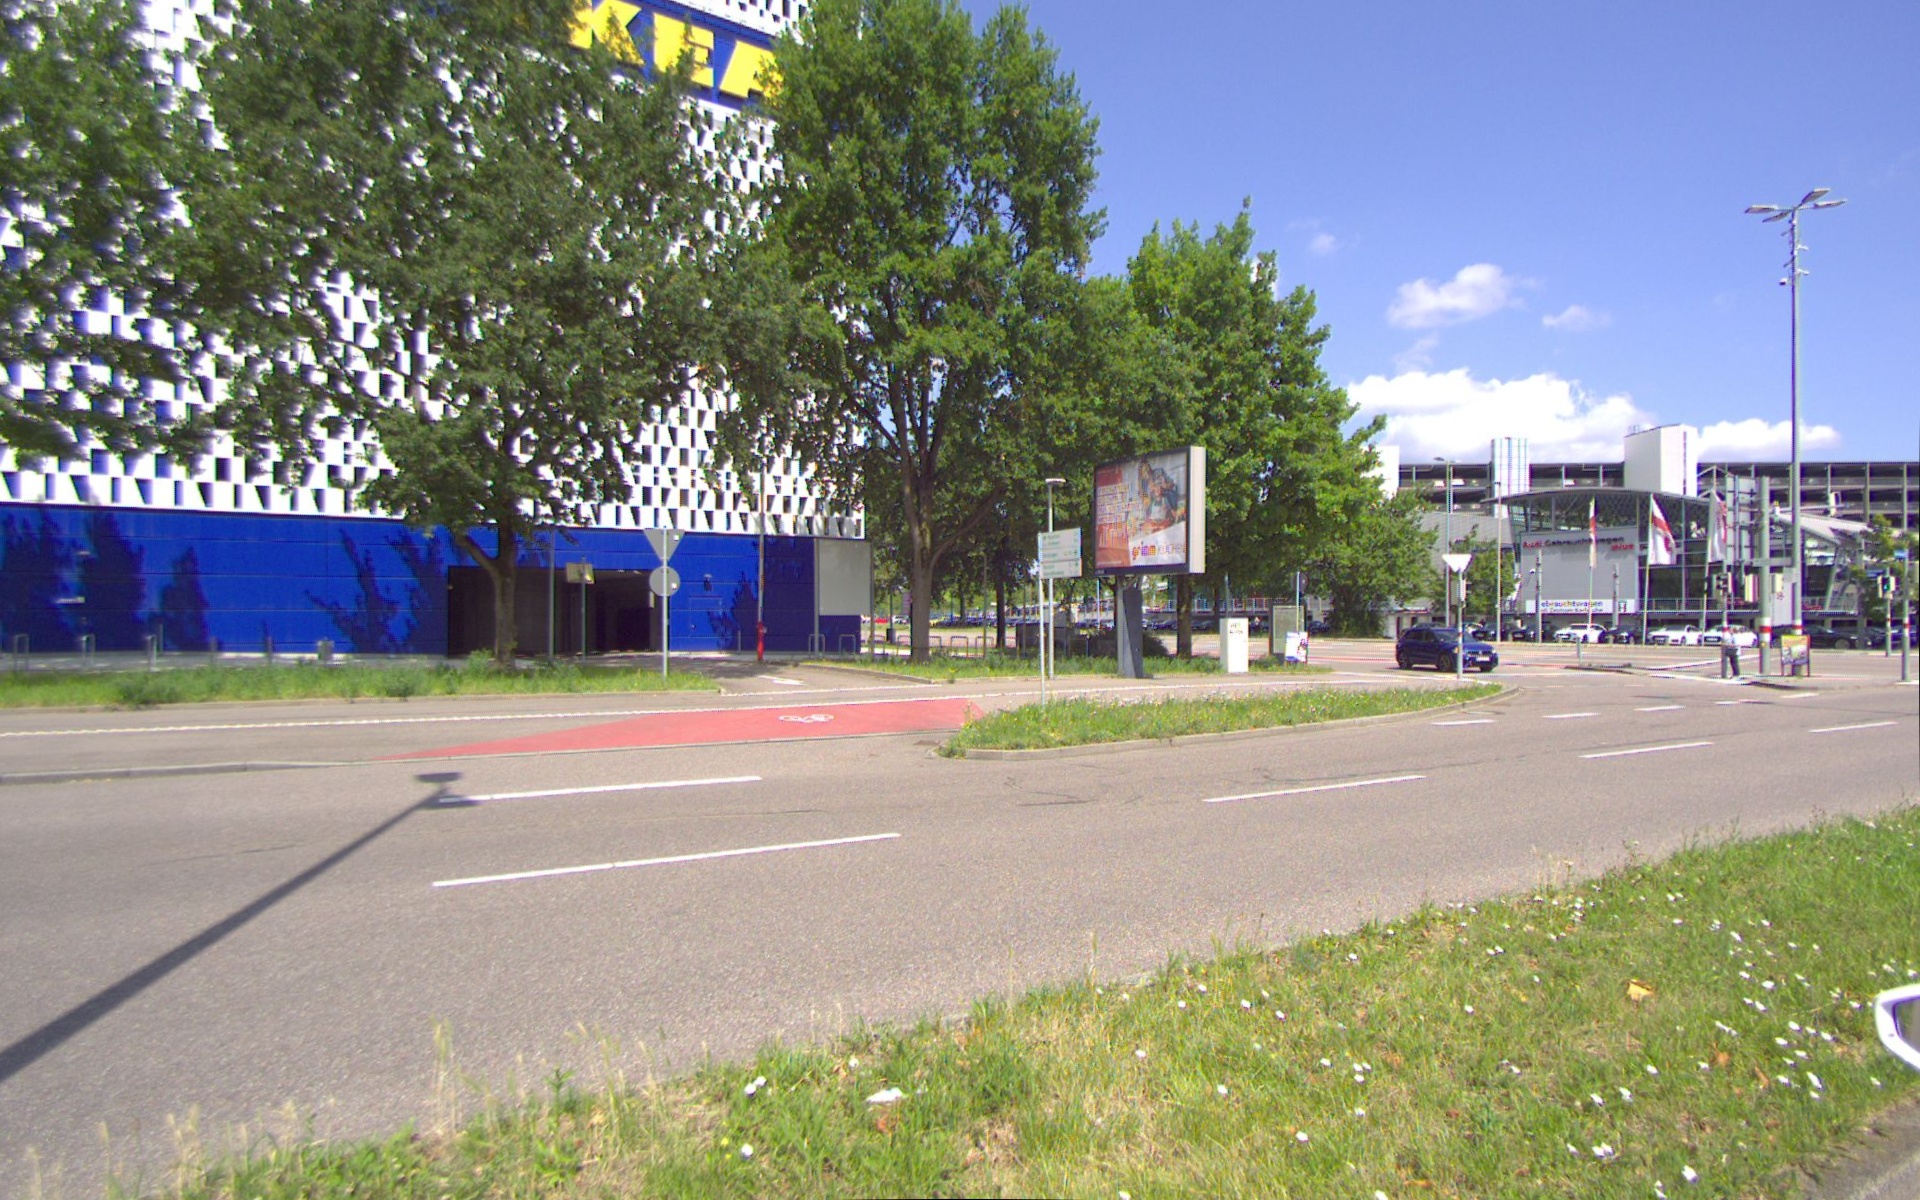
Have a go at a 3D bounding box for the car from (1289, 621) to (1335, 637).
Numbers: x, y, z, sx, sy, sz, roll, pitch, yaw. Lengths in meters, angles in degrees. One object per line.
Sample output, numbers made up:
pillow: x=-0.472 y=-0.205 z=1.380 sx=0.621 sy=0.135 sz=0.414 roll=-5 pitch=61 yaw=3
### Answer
car: x=27.946 y=2.274 z=79.827 sx=3.462 sy=1.207 sz=1.584 roll=1 pitch=0 yaw=-30

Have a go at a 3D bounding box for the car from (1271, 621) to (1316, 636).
car: x=27.043 y=2.316 z=81.366 sx=3.462 sy=1.207 sz=1.584 roll=1 pitch=0 yaw=-30

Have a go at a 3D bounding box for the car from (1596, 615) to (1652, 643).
car: x=41.786 y=1.803 z=63.218 sx=3.579 sy=1.683 sz=1.746 roll=0 pitch=0 yaw=-34

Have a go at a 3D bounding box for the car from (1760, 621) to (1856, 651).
car: x=46.588 y=1.956 z=55.246 sx=1.662 sy=1.533 sz=3.768 roll=0 pitch=0 yaw=-34

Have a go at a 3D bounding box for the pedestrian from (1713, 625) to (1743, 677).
pedestrian: x=22.759 y=1.507 z=29.768 sx=0.502 sy=1.532 sz=0.470 roll=1 pitch=0 yaw=-5

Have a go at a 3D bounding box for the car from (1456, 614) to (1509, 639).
car: x=37.131 y=1.861 z=71.365 sx=3.753 sy=1.686 sz=1.804 roll=1 pitch=0 yaw=-34

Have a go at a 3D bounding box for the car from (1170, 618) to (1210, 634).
car: x=21.190 y=2.360 z=92.428 sx=3.462 sy=1.409 sz=1.584 roll=1 pitch=0 yaw=-30

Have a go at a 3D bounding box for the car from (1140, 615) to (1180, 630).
car: x=19.407 y=2.209 z=97.451 sx=3.686 sy=1.409 sz=1.690 roll=1 pitch=0 yaw=-30

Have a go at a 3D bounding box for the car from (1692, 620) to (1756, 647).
car: x=44.844 y=1.949 z=58.930 sx=3.987 sy=1.469 sz=1.765 roll=0 pitch=0 yaw=-34

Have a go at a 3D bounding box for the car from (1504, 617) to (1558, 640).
car: x=38.591 y=1.914 z=67.916 sx=3.662 sy=1.506 sz=1.717 roll=0 pitch=0 yaw=-34

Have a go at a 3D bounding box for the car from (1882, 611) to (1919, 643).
car: x=49.096 y=1.395 z=52.110 sx=1.798 sy=1.573 sz=3.977 roll=1 pitch=0 yaw=43

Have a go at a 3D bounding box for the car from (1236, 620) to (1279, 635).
car: x=25.493 y=2.383 z=85.947 sx=3.462 sy=1.207 sz=1.584 roll=1 pitch=-1 yaw=-30

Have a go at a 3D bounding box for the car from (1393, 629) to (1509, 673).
car: x=18.509 y=1.895 z=38.091 sx=1.964 sy=1.530 sz=3.993 roll=0 pitch=-2 yaw=-11

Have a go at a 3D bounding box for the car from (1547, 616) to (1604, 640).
car: x=40.169 y=1.811 z=65.524 sx=3.662 sy=1.506 sz=1.867 roll=0 pitch=0 yaw=-34

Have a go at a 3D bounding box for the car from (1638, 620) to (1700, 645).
car: x=43.096 y=1.976 z=61.013 sx=3.712 sy=1.394 sz=1.896 roll=0 pitch=0 yaw=-34
